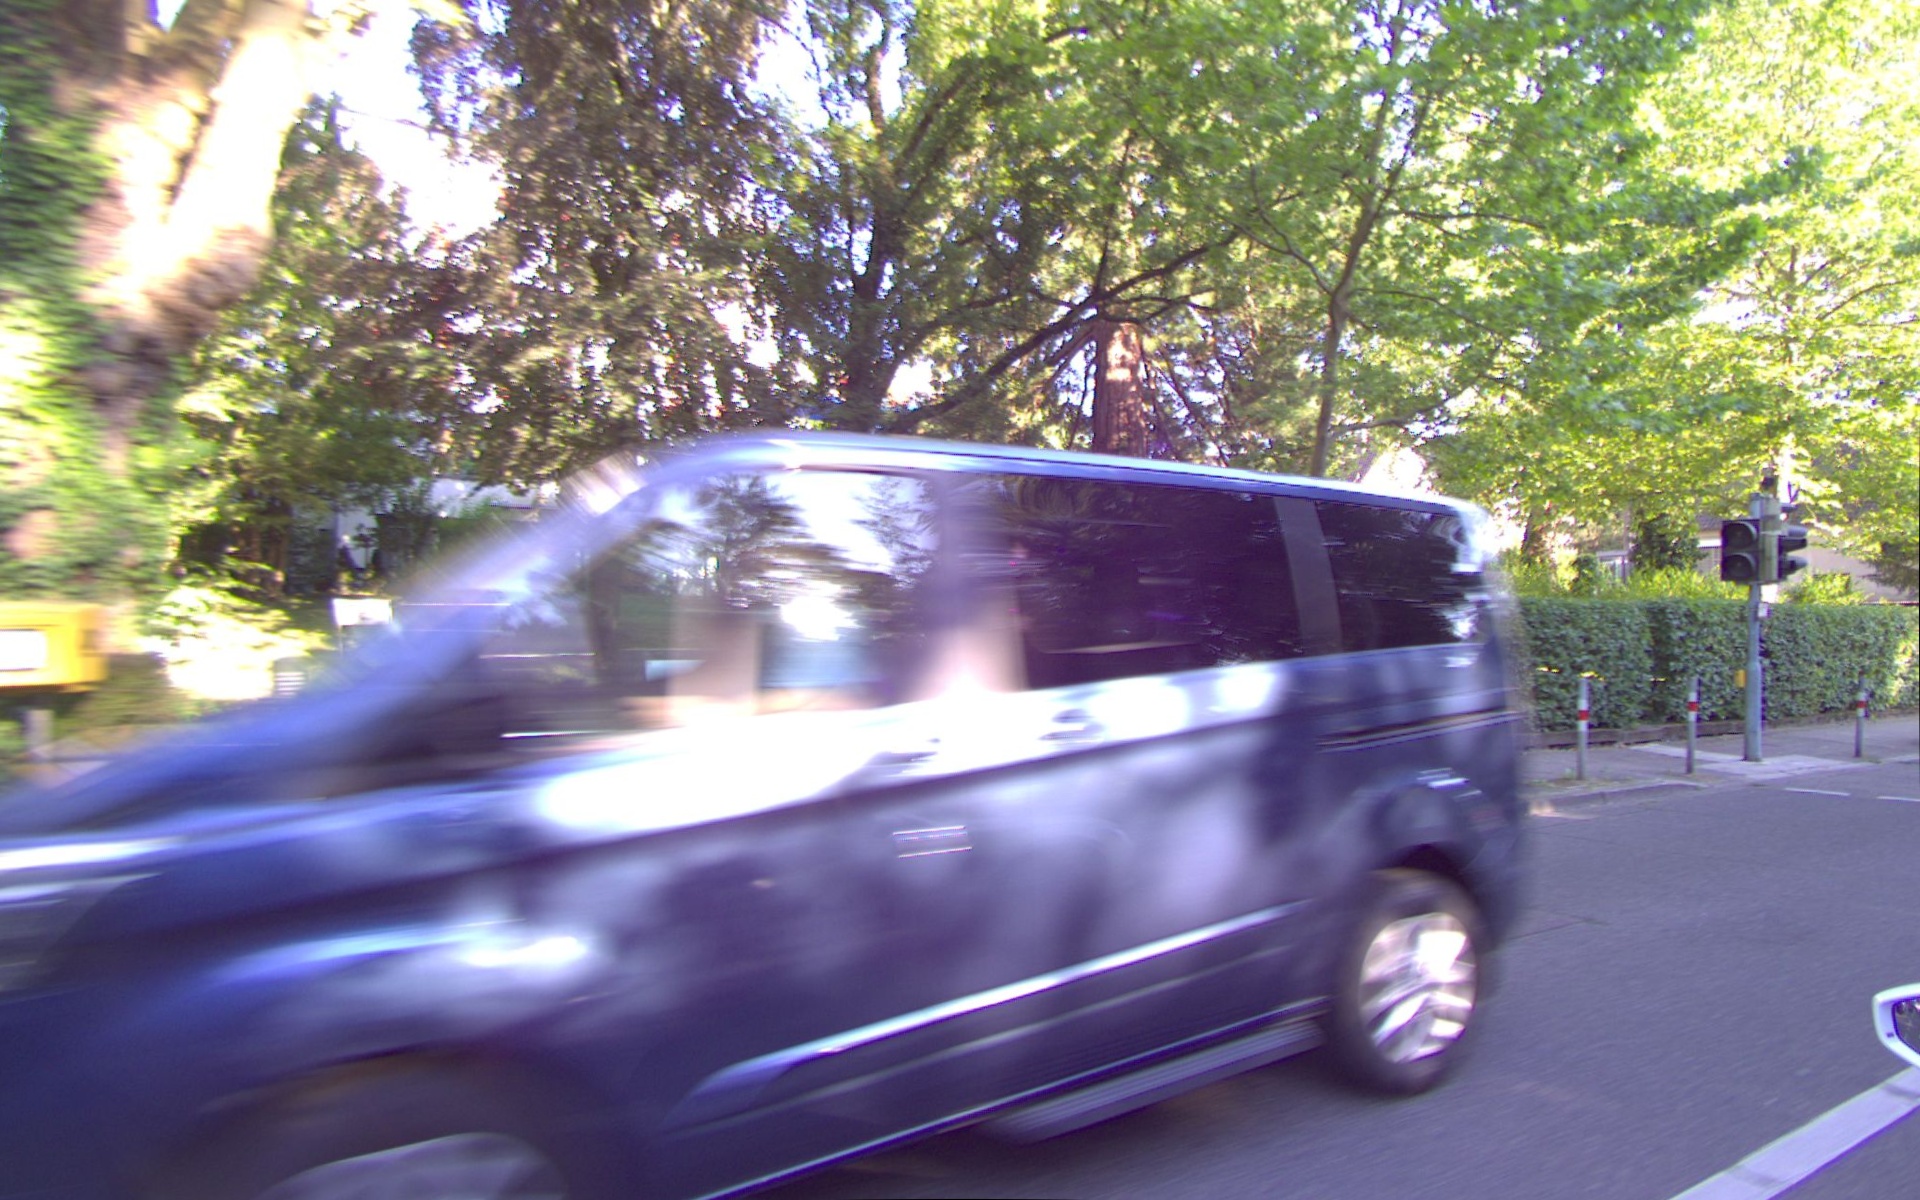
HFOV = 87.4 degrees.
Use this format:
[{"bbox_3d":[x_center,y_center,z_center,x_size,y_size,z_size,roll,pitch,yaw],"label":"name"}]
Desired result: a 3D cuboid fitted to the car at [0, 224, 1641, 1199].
[{"bbox_3d":[0.031,0.544,3.431,4.723,1.994,1.984,1,-3,-31],"label":"car"}]
